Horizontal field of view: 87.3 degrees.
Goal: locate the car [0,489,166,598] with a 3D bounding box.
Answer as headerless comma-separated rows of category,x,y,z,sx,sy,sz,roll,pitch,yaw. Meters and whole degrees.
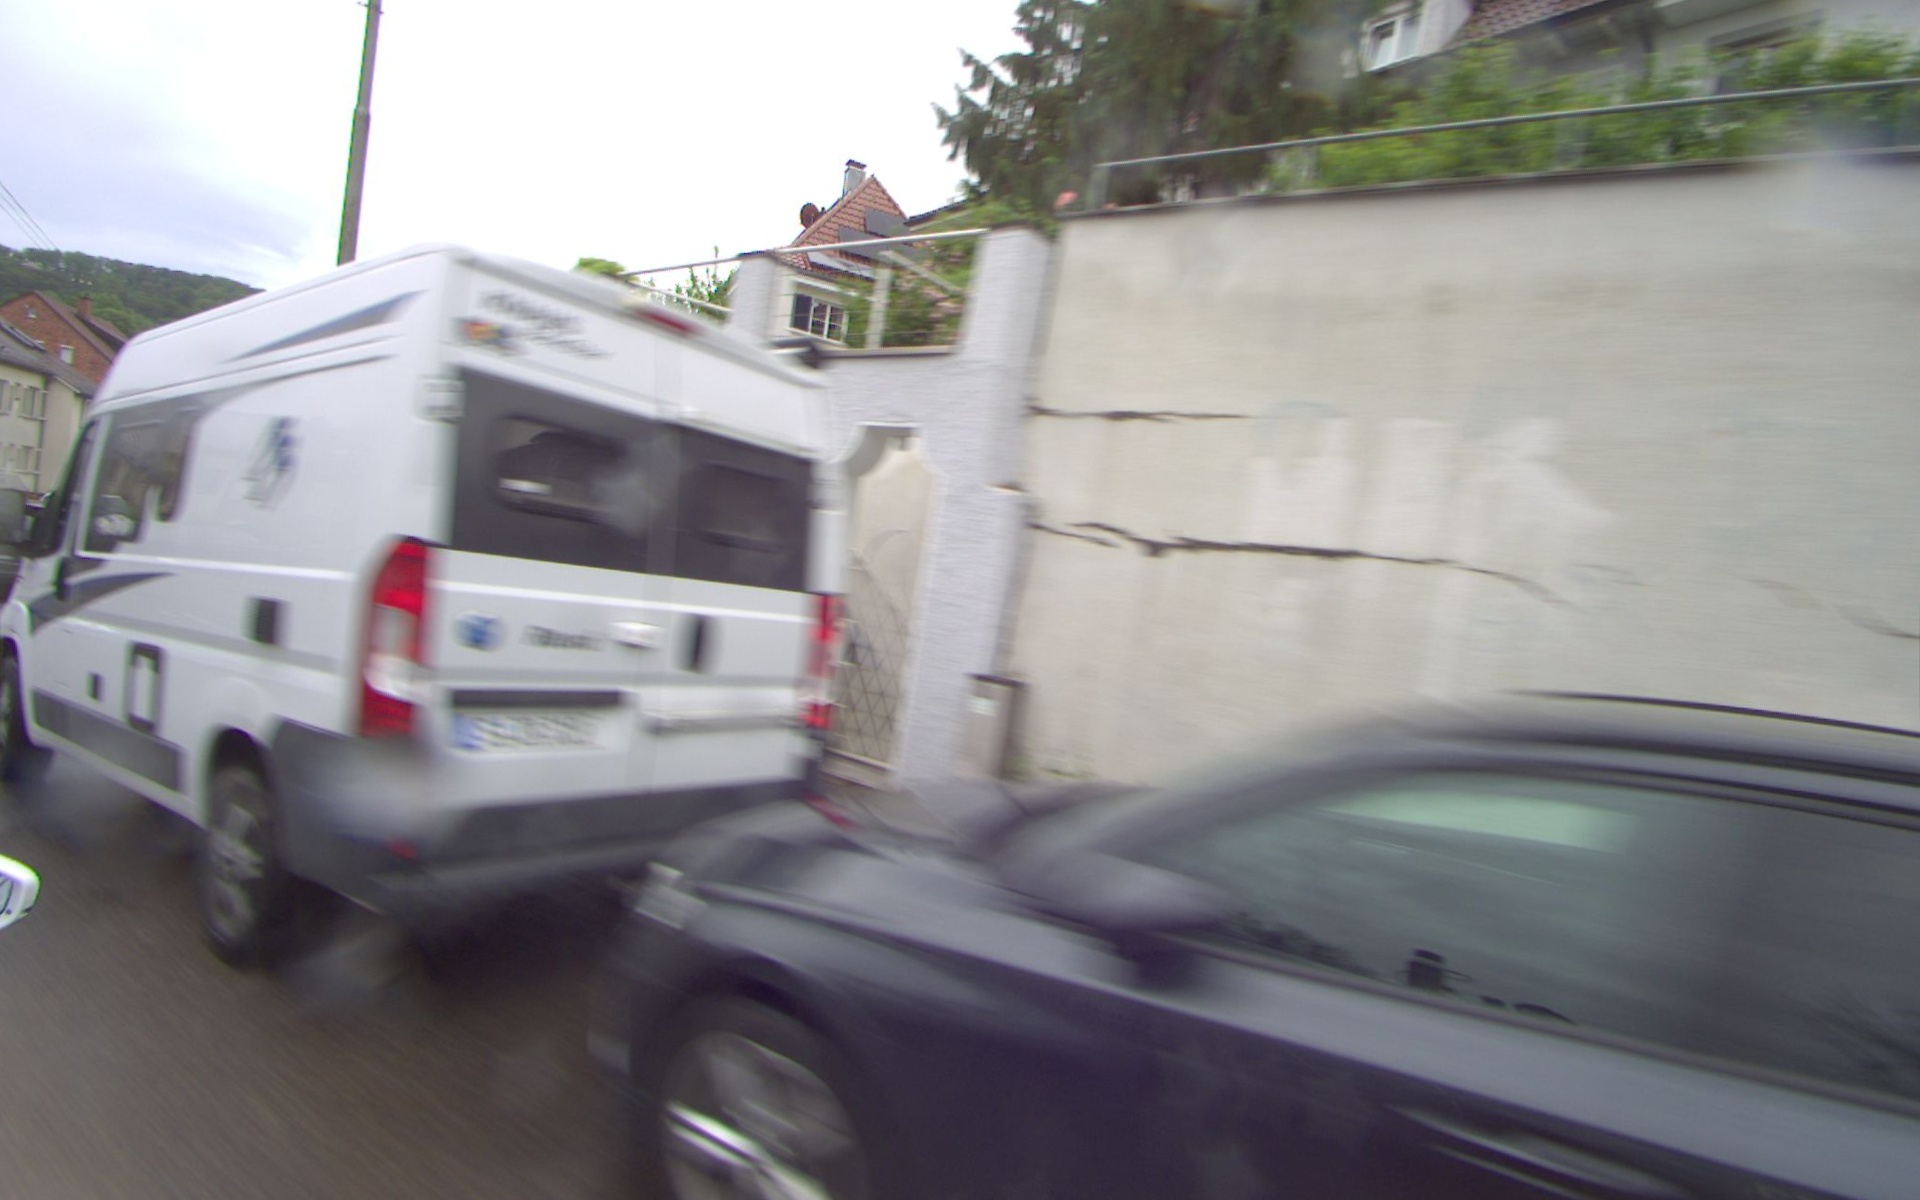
car,-16.880,-1.107,19.568,1.793,1.669,4.171,8,-1,-34

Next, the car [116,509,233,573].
car,-22.448,-1.698,28.914,1.627,1.454,4.146,8,0,-25

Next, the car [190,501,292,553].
car,-32.188,-3.212,45.177,2.280,1.965,4.308,6,1,-16

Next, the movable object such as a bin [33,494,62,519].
movable object such as a bin,-45.586,-4.676,50.276,0.774,1.059,0.734,8,0,-21

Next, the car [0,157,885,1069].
car,-3.270,-0.114,5.332,5.534,2.575,2.097,6,1,37

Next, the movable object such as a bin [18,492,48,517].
movable object such as a bin,-45.427,-4.654,49.291,0.774,1.059,0.705,8,0,-21

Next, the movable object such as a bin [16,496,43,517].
movable object such as a bin,-44.989,-4.524,48.648,0.666,0.870,0.705,8,0,-21

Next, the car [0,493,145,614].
car,-14.091,-0.775,15.734,1.670,1.501,4.161,9,-1,-36

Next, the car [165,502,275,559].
car,-24.582,-2.245,33.592,1.772,1.513,4.679,8,-1,-23

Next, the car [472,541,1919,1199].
car,0.992,0.845,2.238,4.115,1.515,1.754,7,1,32

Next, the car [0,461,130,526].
car,-50.768,-6.003,55.899,6.586,2.583,2.158,8,-2,-21
